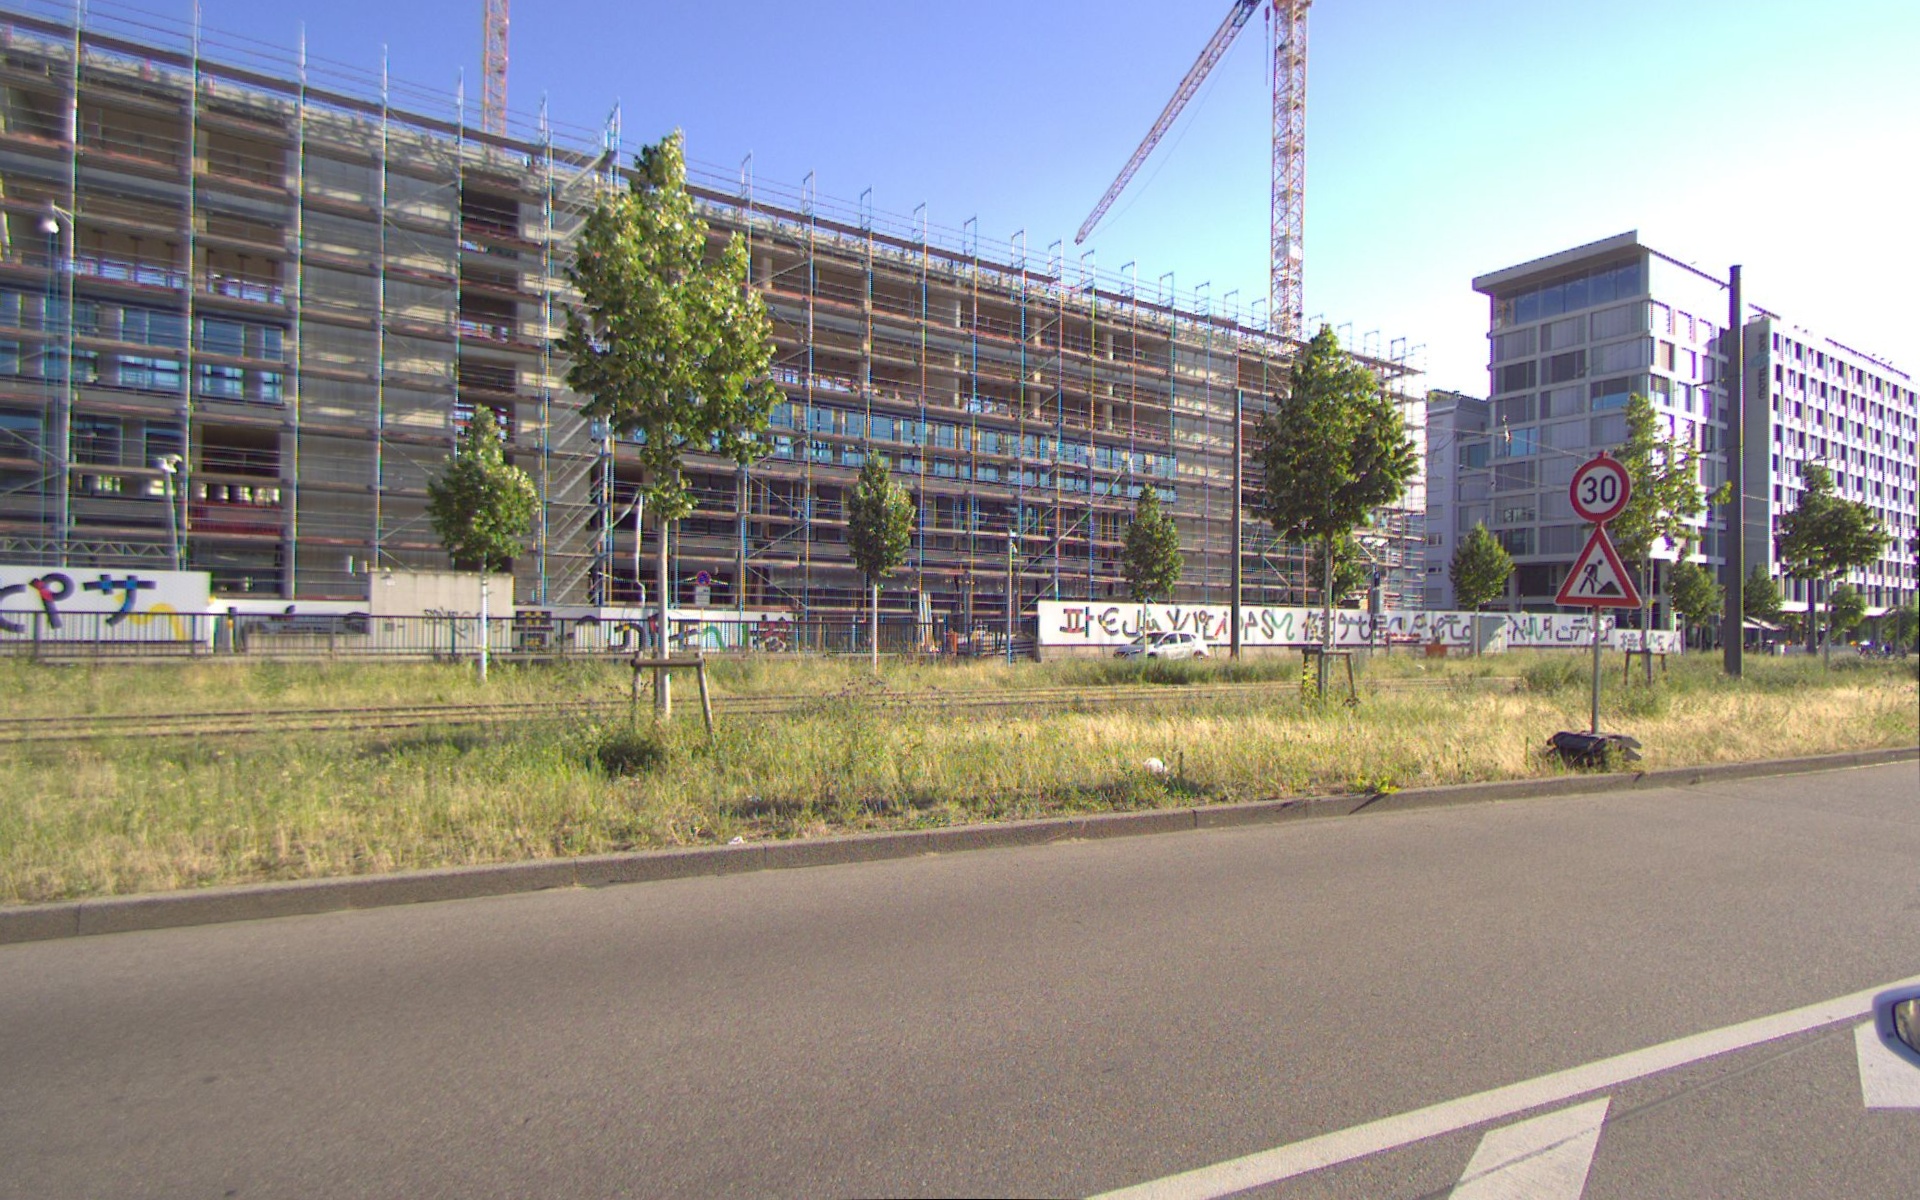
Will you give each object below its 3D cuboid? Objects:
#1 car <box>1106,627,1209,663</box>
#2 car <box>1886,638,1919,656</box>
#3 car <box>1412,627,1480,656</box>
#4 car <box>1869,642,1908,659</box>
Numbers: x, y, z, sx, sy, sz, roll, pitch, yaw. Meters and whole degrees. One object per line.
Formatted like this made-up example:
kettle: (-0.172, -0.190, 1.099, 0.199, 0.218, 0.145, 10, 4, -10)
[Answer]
car: (7.871, 1.762, 39.926, 4.045, 1.327, 1.520, 1, -1, -30)
car: (83.579, 4.151, 88.771, 3.543, 1.461, 1.699, 2, 0, -32)
car: (26.323, 2.254, 54.426, 3.543, 1.461, 1.699, 2, 0, -32)
car: (84.051, 4.563, 90.896, 3.543, 1.461, 1.699, 2, 0, -32)
